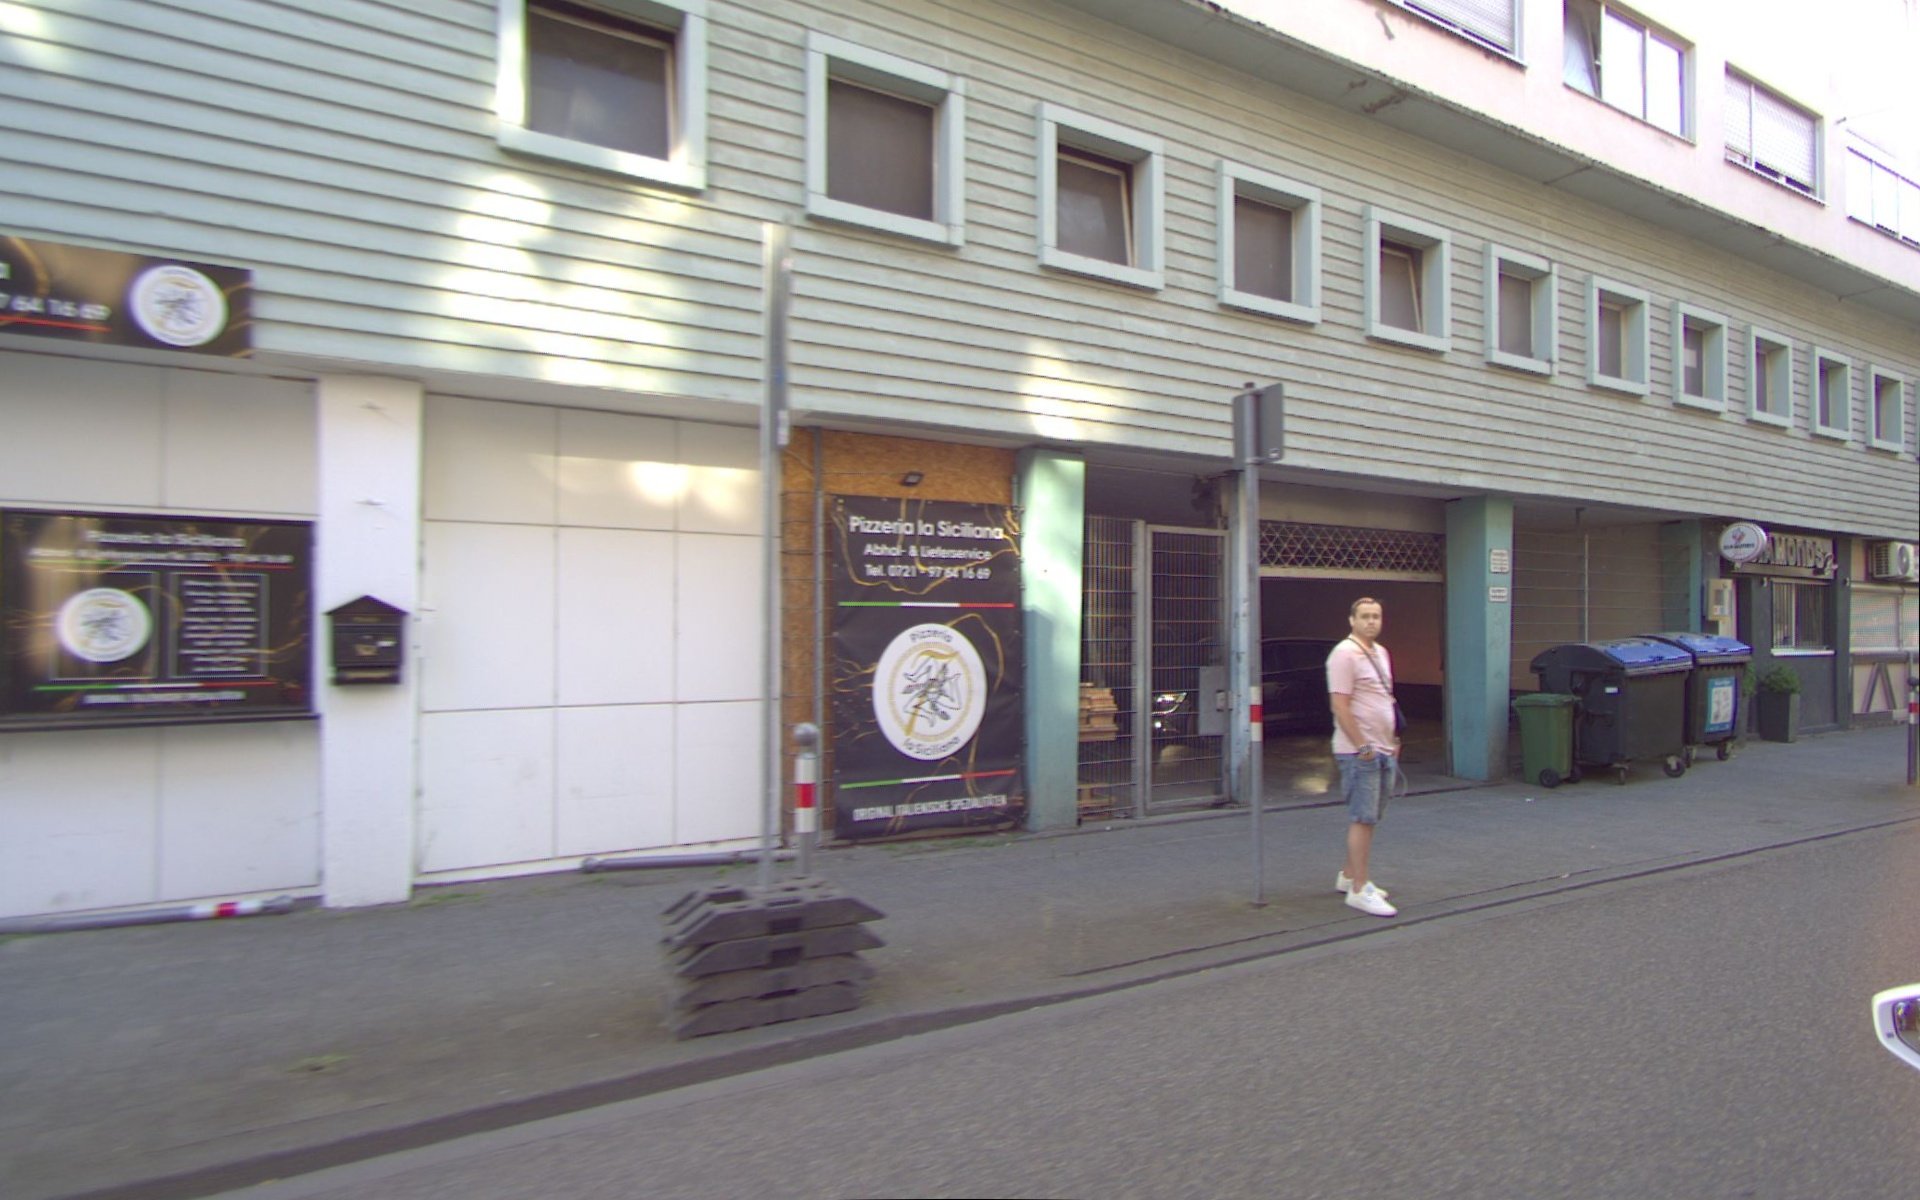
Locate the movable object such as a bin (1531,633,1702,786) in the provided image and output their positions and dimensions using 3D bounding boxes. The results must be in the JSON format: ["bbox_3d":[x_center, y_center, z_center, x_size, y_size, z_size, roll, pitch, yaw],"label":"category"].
[{"bbox_3d":[7.080,1.119,10.840,1.457,1.491,0.964,-1,-1,-30],"label":"movable object such as a bin"}]

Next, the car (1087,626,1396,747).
[{"bbox_3d":[4.232,1.182,14.908,4.546,1.555,1.754,1,-1,-29],"label":"car"}]

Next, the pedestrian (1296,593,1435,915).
[{"bbox_3d":[2.246,0.813,5.616,0.615,1.692,0.494,1,1,14],"label":"pedestrian"}]

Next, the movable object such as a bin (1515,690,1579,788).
[{"bbox_3d":[6.123,1.433,10.484,0.461,0.954,0.391,0,-1,-29],"label":"movable object such as a bin"}]

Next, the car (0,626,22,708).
[{"bbox_3d":[-18.048,1.229,17.298,1.764,1.501,3.886,-1,-1,-27],"label":"car"}]

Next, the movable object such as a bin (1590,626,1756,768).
[{"bbox_3d":[8.381,1.085,11.832,1.326,1.540,1.117,0,-1,-29],"label":"movable object such as a bin"}]
